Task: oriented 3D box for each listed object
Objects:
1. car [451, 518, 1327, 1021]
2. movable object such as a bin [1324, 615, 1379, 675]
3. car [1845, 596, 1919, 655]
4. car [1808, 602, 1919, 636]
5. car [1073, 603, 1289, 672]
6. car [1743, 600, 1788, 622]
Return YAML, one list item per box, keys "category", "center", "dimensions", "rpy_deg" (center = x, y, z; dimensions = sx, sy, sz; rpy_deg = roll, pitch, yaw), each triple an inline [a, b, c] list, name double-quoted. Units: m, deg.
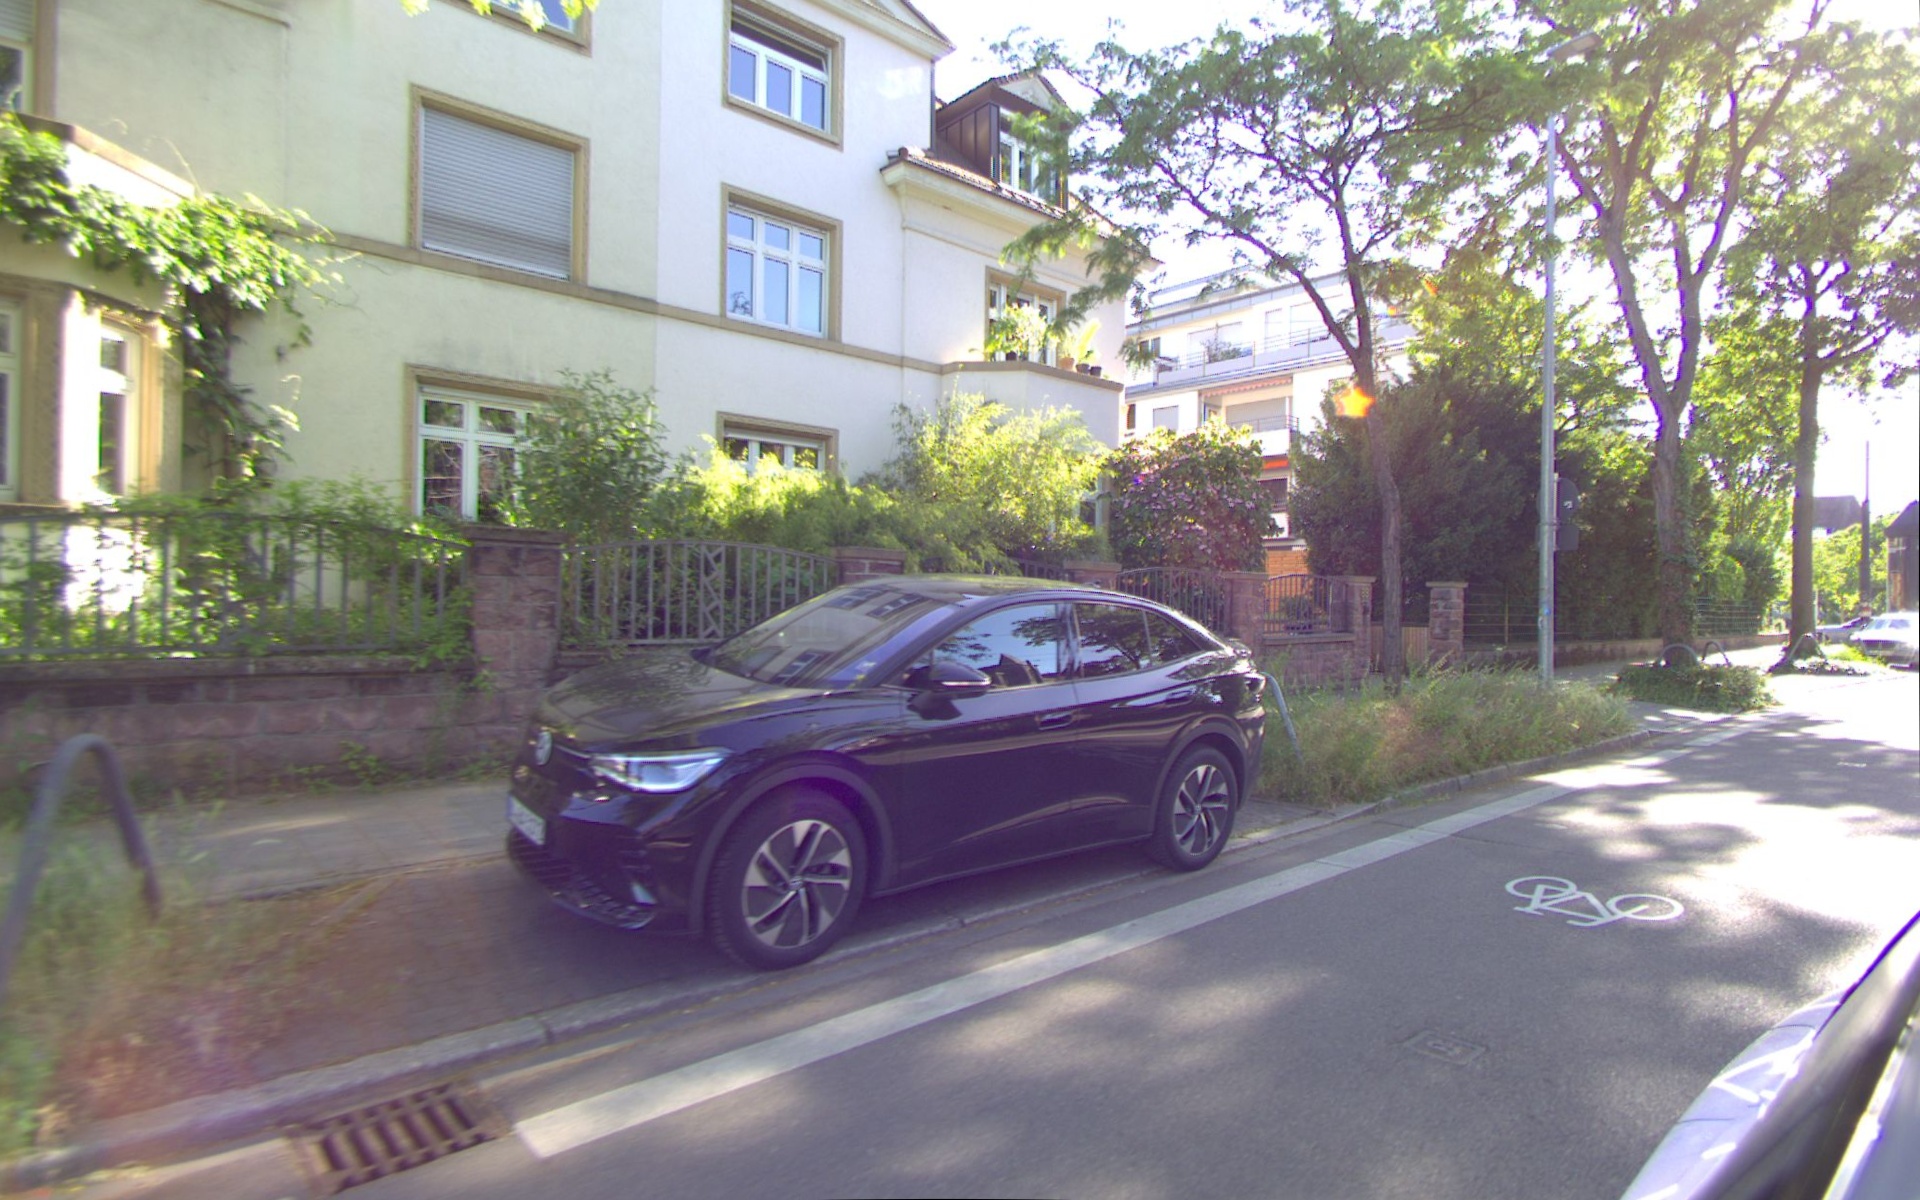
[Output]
- category: "car"
  center: [-0.070, 0.535, 5.635]
  dimensions: [4.644, 1.714, 1.809]
  rpy_deg: [0, 4, -40]
- category: "movable object such as a bin"
  center: [7.586, 0.861, 19.616]
  dimensions: [0.717, 1.112, 0.748]
  rpy_deg: [0, 0, -39]
- category: "car"
  center: [25.524, 0.624, 27.011]
  dimensions: [4.251, 1.440, 2.000]
  rpy_deg: [0, 1, -36]
- category: "car"
  center: [41.120, 0.821, 45.320]
  dimensions: [1.932, 1.386, 4.522]
  rpy_deg: [0, 0, -38]
- category: "car"
  center: [4.401, 0.689, 20.544]
  dimensions: [3.986, 1.225, 1.741]
  rpy_deg: [0, 0, 43]
- category: "car"
  center: [71.390, 0.955, 89.707]
  dimensions: [3.922, 1.819, 2.001]
  rpy_deg: [0, 0, -34]
